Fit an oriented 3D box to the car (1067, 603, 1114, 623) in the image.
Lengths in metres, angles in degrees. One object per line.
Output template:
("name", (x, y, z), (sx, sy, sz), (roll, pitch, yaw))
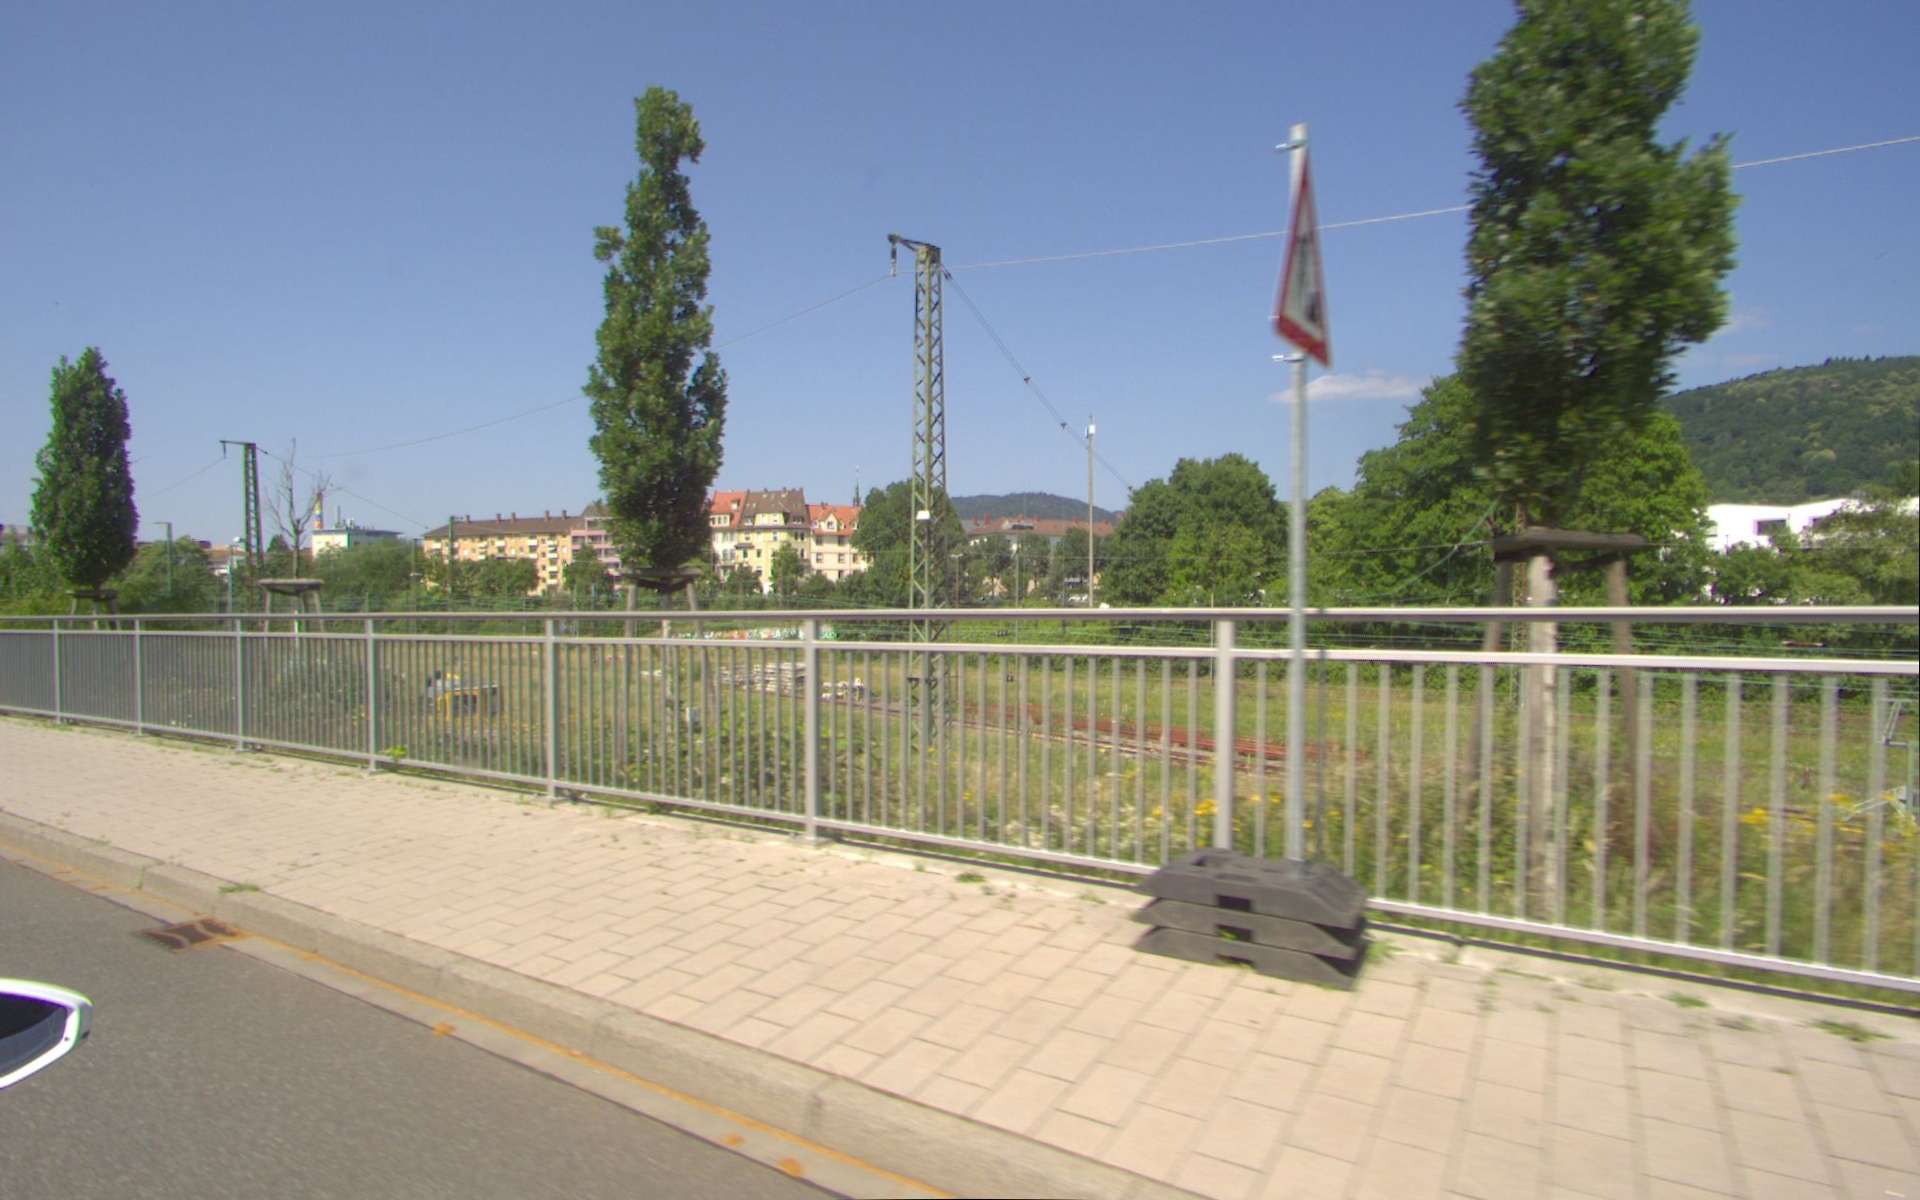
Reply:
("car", (14.502, 1.395, 111.671), (4.927, 2.141, 1.986), (0, 1, 38))
